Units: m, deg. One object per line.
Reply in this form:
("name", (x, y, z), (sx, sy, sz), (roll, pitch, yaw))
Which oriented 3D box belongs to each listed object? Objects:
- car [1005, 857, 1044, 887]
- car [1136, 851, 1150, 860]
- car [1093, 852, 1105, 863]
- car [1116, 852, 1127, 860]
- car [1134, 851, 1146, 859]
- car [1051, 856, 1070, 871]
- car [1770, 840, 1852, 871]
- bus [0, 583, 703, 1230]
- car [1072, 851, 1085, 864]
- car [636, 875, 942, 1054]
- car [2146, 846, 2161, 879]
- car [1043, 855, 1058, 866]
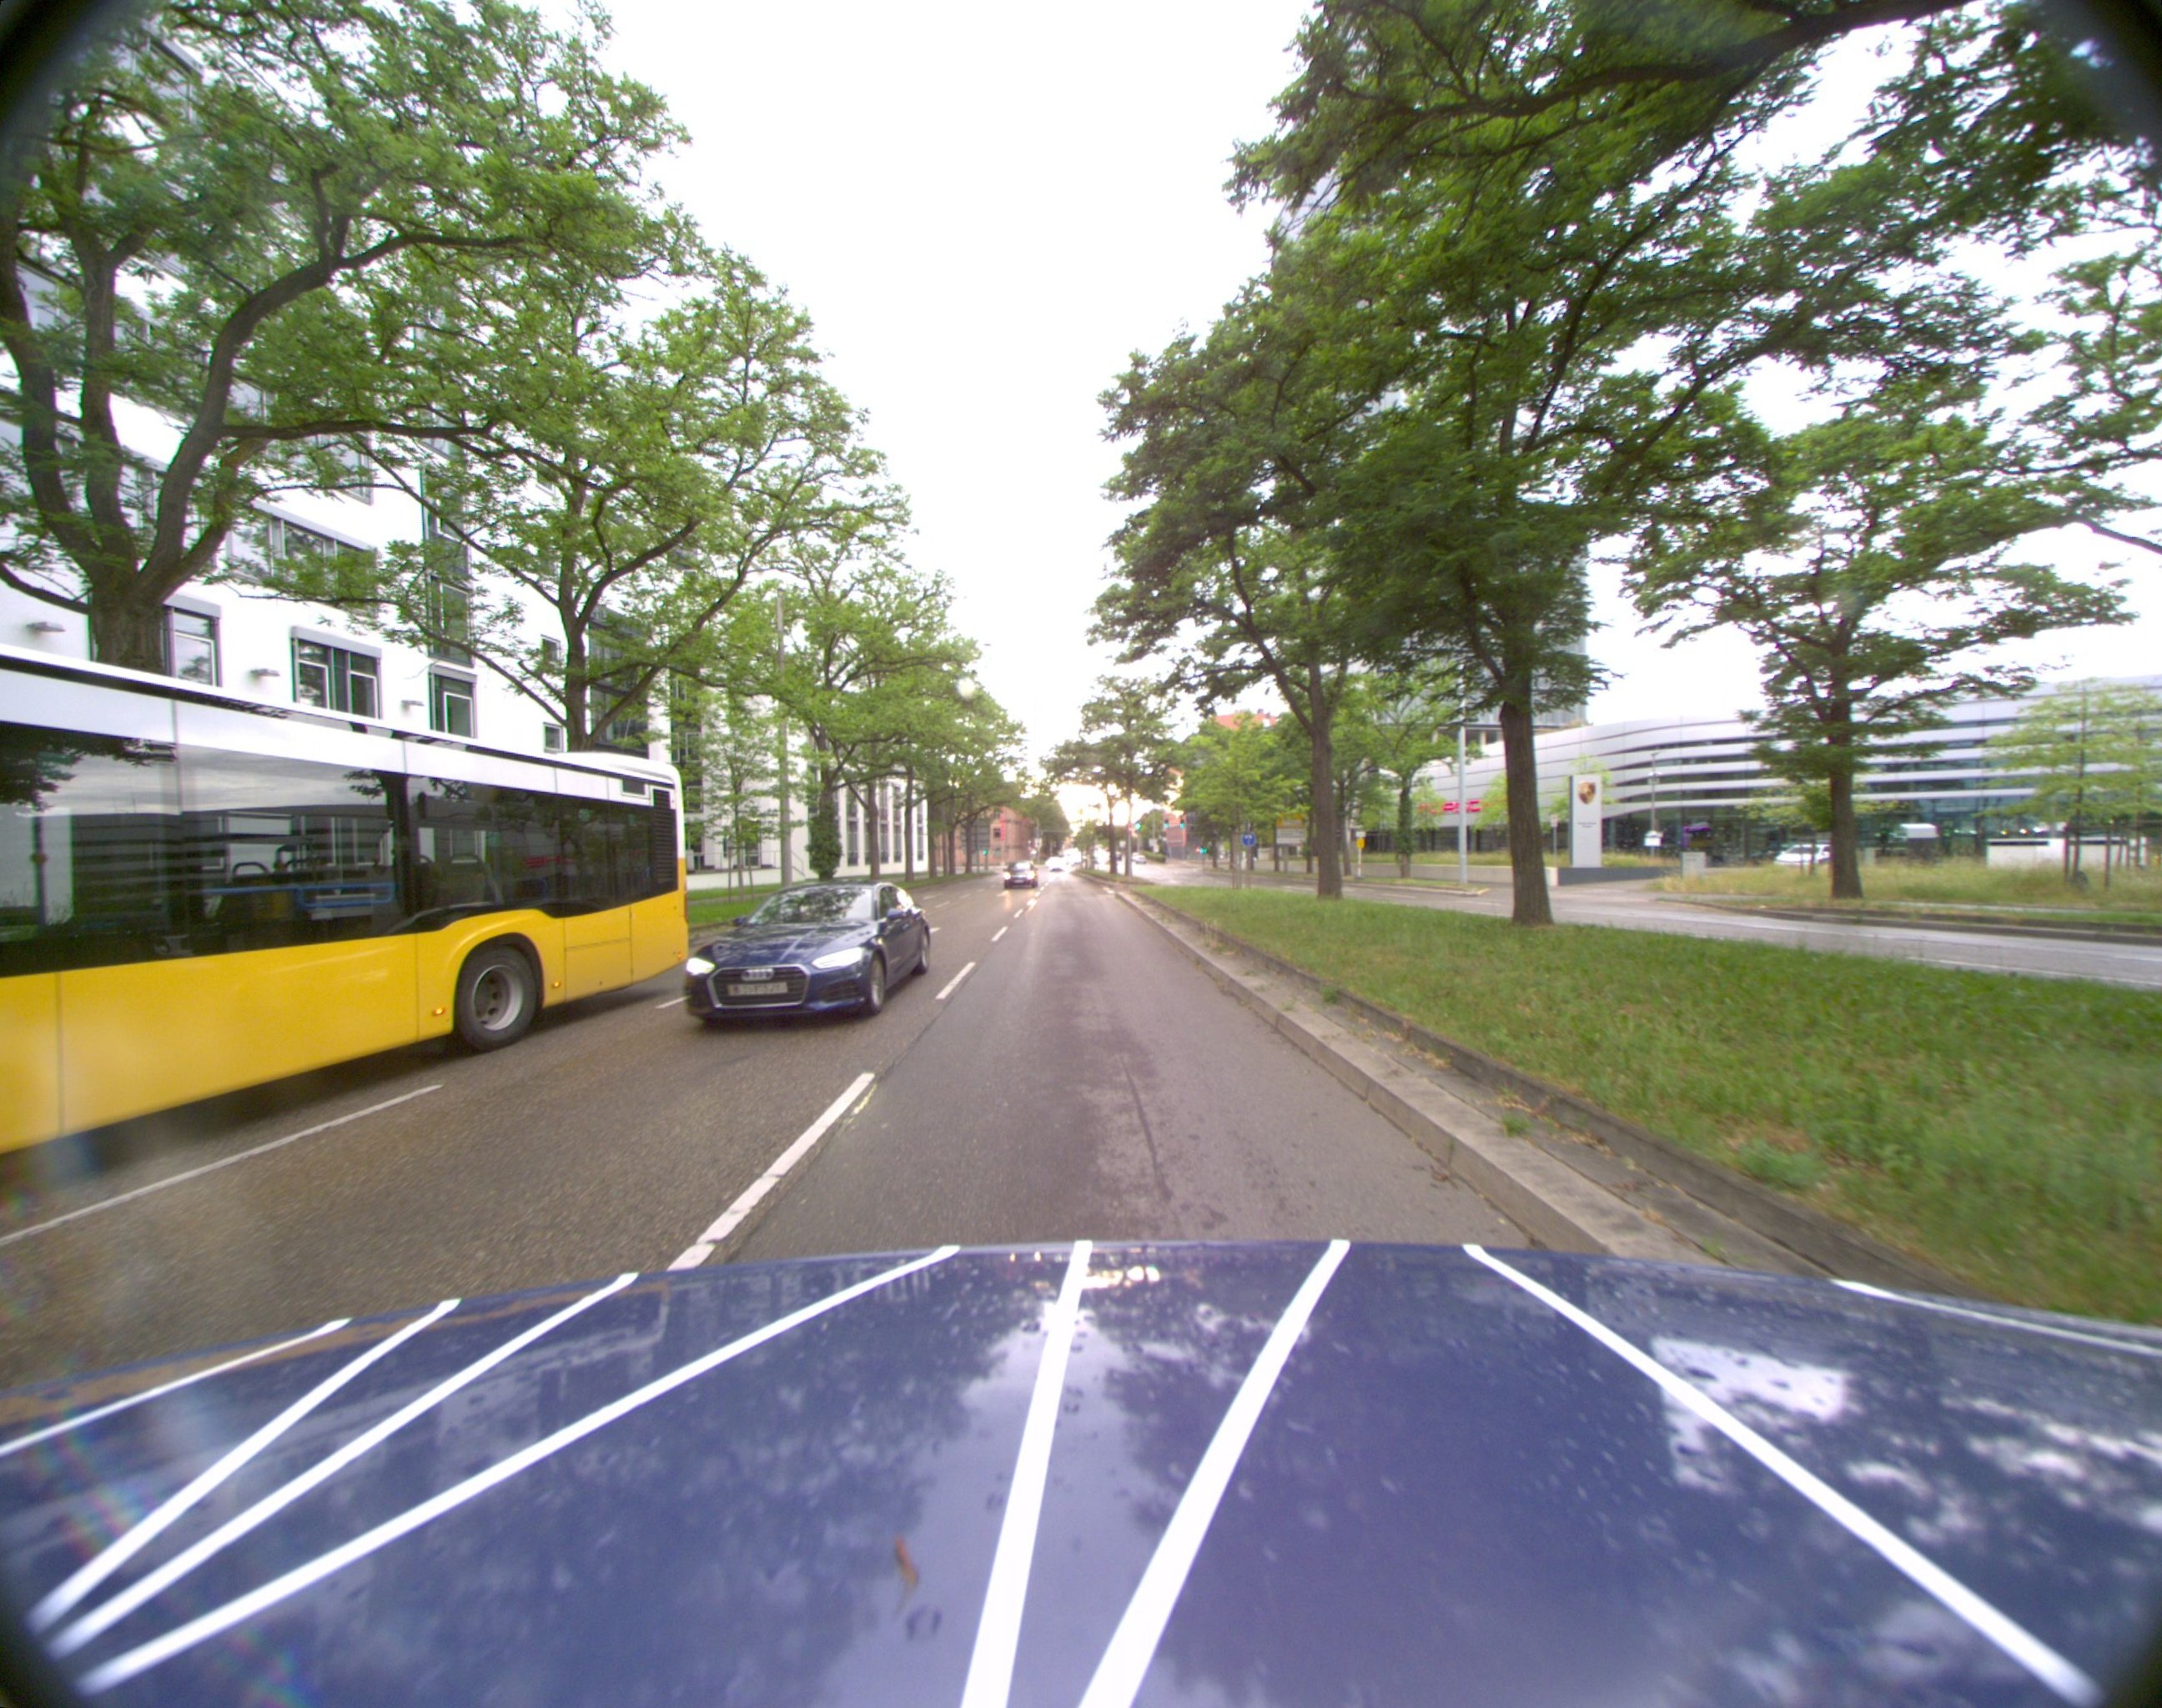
("car", (-3.095, 0.943, 42.040), (1.625, 1.426, 3.551), (-3, 1, 3))
("car", (11.245, 0.295, 137.484), (1.894, 1.445, 3.998), (-3, 1, -2))
("car", (3.084, 0.612, 132.528), (1.998, 2.002, 4.000), (-1, 0, 1))
("car", (8.333, 0.399, 156.882), (1.846, 1.581, 4.172), (0, 1, -2))
("car", (12.058, 0.142, 154.998), (1.783, 1.445, 3.998), (-3, 1, -2))
("car", (-2.402, 1.098, 89.556), (1.998, 1.707, 4.000), (-1, 0, 1))
("car", (39.230, 0.081, 40.836), (4.004, 1.405, 1.775), (-3, 1, -24))
("bus", (-6.597, 0.302, 4.177), (2.734, 3.133, 12.145), (-3, 0, 0))
("car", (-0.410, 0.502, 122.265), (1.931, 2.002, 4.000), (-1, 0, 1))
("car", (-3.031, 1.060, 9.029), (1.878, 1.346, 4.331), (-3, 1, 0))
("car", (48.972, 0.307, 33.536), (4.004, 1.316, 1.617), (-3, 1, -25))
("car", (-4.677, 1.017, 116.145), (1.998, 1.576, 4.000), (-1, 0, 1))
